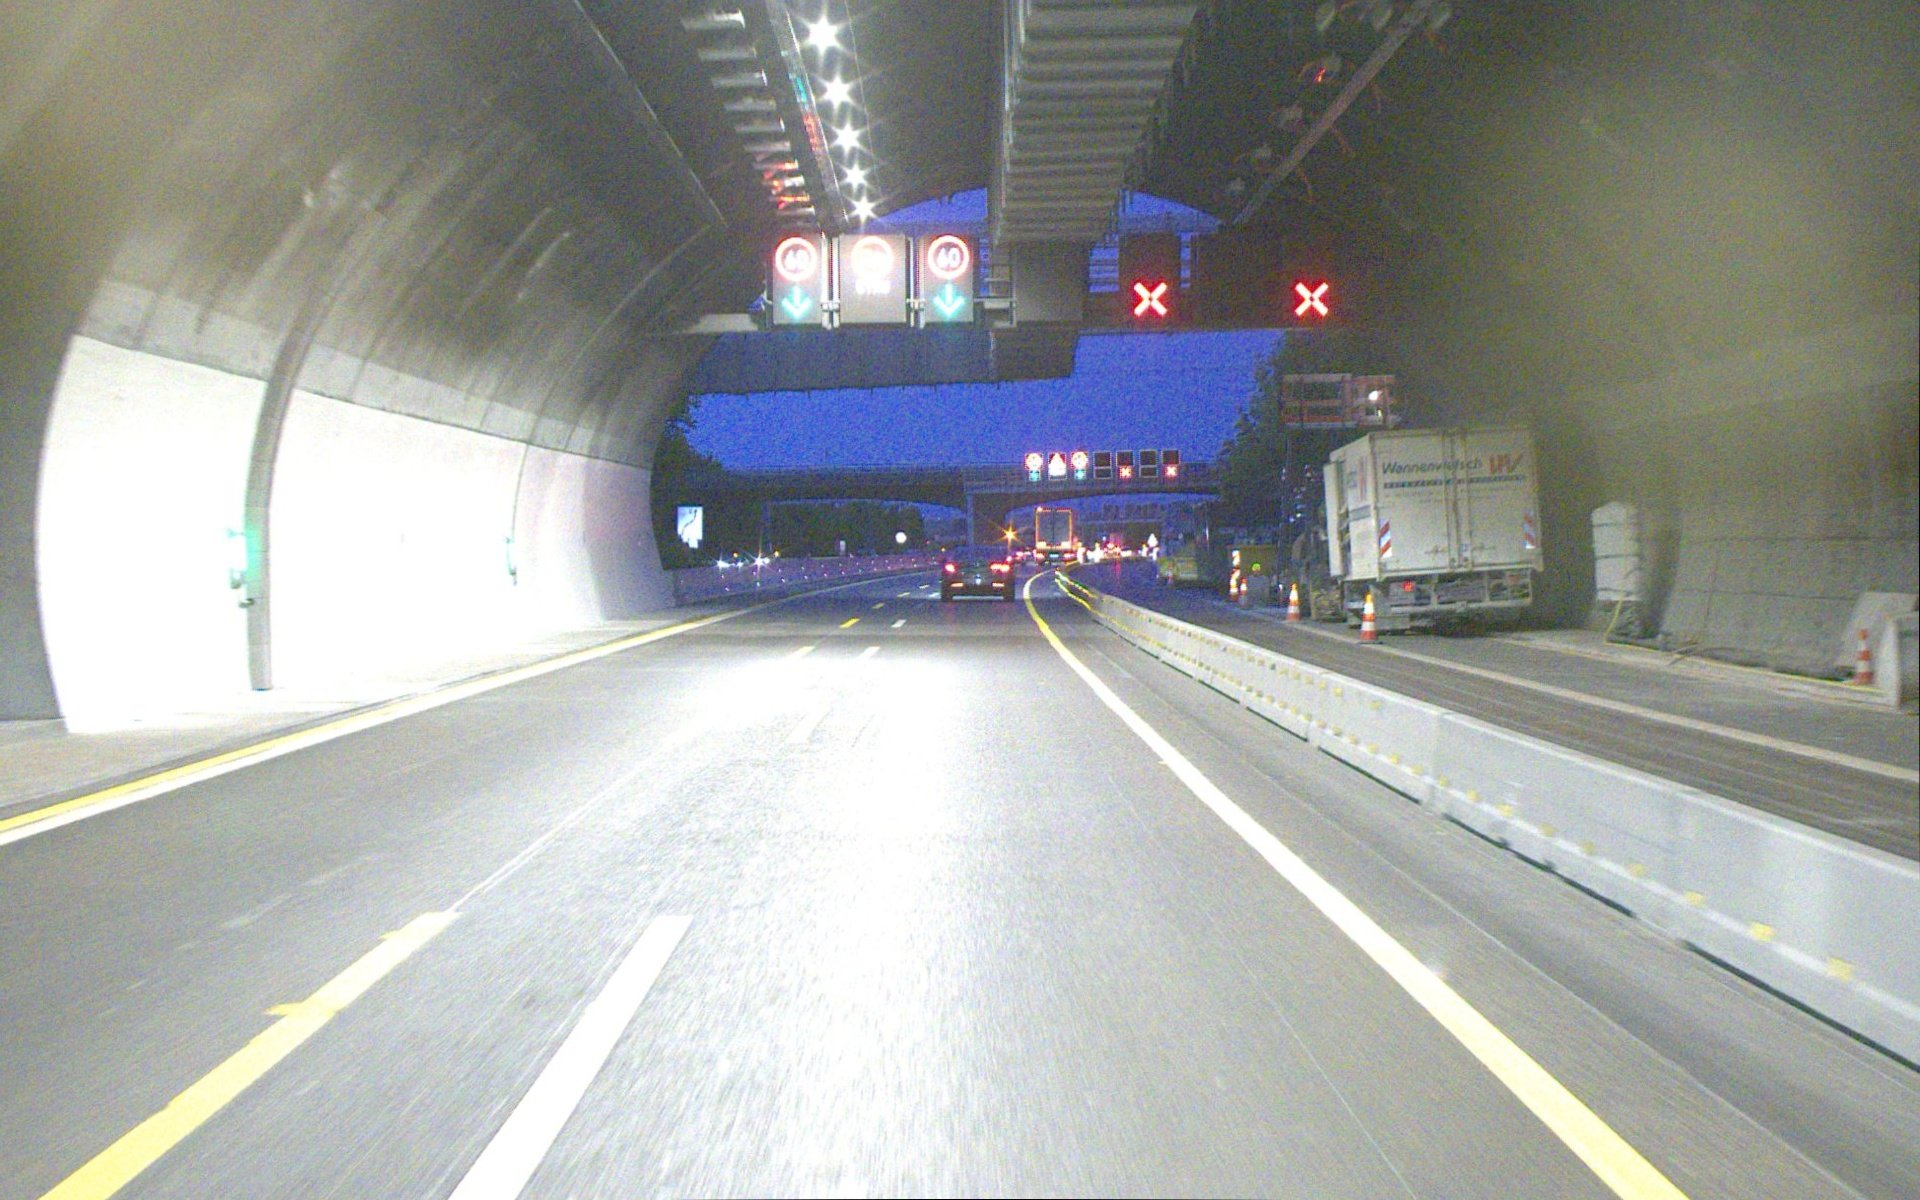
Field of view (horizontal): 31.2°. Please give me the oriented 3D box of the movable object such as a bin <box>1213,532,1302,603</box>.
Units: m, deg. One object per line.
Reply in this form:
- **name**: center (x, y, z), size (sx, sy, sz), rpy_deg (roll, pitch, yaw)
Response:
- **movable object such as a bin**: center (7.752, -0.859, 89.986), size (1.978, 1.809, 3.836), rpy_deg (0, 1, 0)

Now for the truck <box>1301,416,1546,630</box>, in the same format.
- **truck**: center (7.521, -1.234, 56.886), size (2.892, 3.261, 8.401), rpy_deg (0, 1, 0)

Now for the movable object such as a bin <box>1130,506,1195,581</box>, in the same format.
- **movable object such as a bin**: center (9.447, -2.625, 161.218), size (2.737, 3.443, 6.946), rpy_deg (0, 1, 1)

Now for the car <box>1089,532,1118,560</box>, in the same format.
- **car**: center (10.448, -3.935, 250.190), size (1.993, 2.007, 4.000), rpy_deg (1, 1, 1)

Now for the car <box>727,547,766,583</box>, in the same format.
- **car**: center (-12.271, -2.021, 197.516), size (1.993, 2.007, 4.000), rpy_deg (0, 1, 0)

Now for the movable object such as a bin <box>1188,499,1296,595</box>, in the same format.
- **movable object such as a bin**: center (8.373, -1.562, 102.676), size (2.737, 2.744, 7.049), rpy_deg (0, 1, 1)

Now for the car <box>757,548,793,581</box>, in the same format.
- **car**: center (-11.547, -2.216, 214.532), size (1.993, 2.007, 4.000), rpy_deg (0, 1, 0)

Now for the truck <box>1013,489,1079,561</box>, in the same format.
- **truck**: center (6.068, -5.289, 244.763), size (4.546, 4.970, 9.599), rpy_deg (0, 1, 1)

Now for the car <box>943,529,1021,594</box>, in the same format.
- **car**: center (0.538, -0.982, 87.906), size (1.887, 1.601, 4.000), rpy_deg (0, 1, -1)

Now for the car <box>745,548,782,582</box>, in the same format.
- **car**: center (-11.857, -2.137, 207.609), size (1.993, 2.007, 4.000), rpy_deg (0, 1, 0)

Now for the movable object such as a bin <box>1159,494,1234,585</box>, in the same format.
- **movable object such as a bin**: center (9.740, -2.477, 142.051), size (2.737, 3.666, 6.333), rpy_deg (0, 1, 1)

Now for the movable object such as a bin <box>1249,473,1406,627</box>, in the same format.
- **movable object such as a bin**: center (7.012, -0.951, 66.381), size (2.238, 2.784, 7.233), rpy_deg (0, 1, 0)

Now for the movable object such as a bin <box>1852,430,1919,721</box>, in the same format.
- **movable object such as a bin**: center (8.685, -0.235, 27.746), size (1.756, 2.372, 4.000), rpy_deg (-3, 1, -1)
